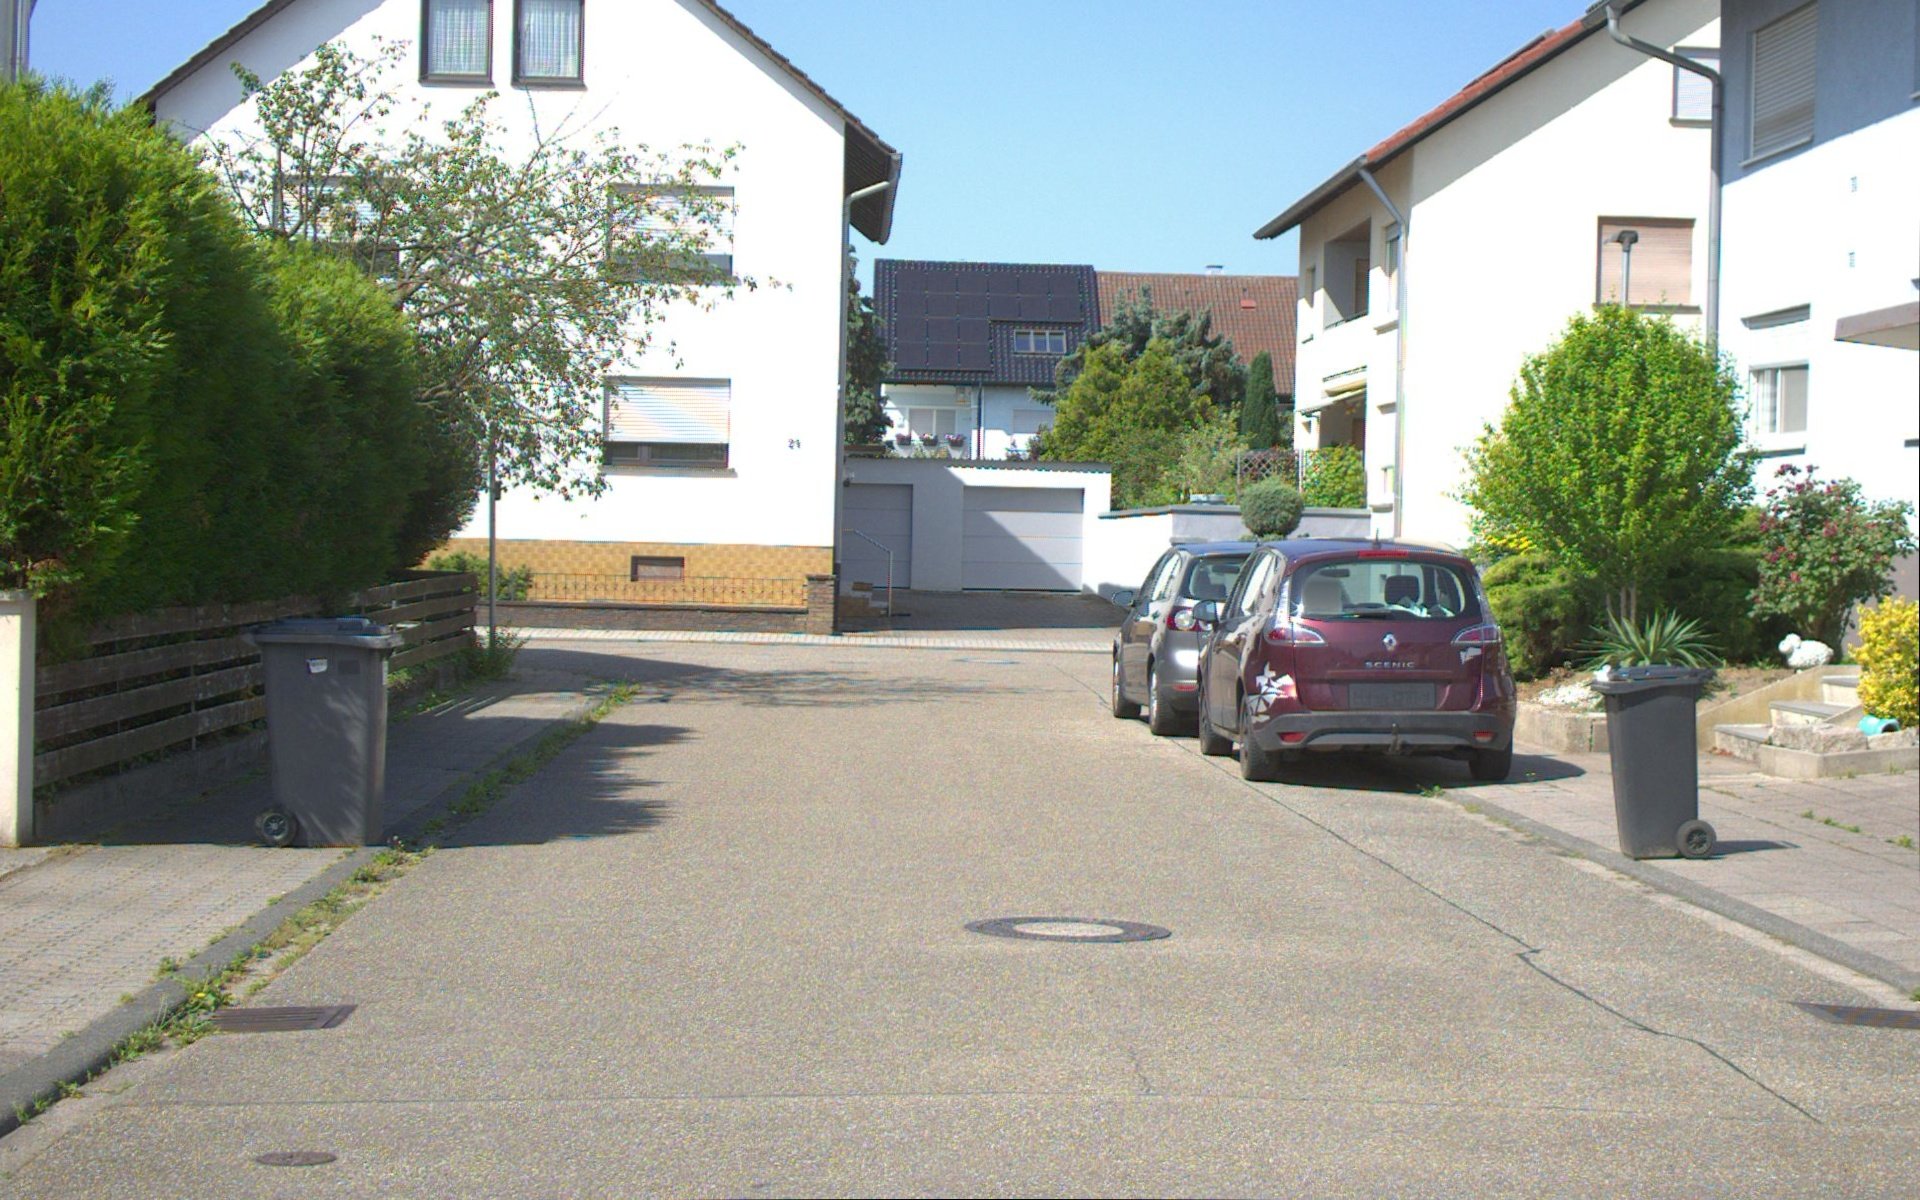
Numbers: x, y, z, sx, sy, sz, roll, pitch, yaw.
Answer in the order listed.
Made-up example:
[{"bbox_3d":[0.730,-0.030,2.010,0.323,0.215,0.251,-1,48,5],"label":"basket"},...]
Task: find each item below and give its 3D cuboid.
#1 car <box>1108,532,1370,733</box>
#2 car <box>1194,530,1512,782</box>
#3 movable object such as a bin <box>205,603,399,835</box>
[{"bbox_3d":[2.279,0.216,29.054,1.645,1.540,4.048,1,1,-3],"label":"car"},{"bbox_3d":[2.663,0.319,24.105,1.645,1.576,4.148,1,1,-1],"label":"car"},{"bbox_3d":[-3.118,0.557,16.332,0.818,1.060,0.611,0,1,-2],"label":"movable object such as a bin"}]
